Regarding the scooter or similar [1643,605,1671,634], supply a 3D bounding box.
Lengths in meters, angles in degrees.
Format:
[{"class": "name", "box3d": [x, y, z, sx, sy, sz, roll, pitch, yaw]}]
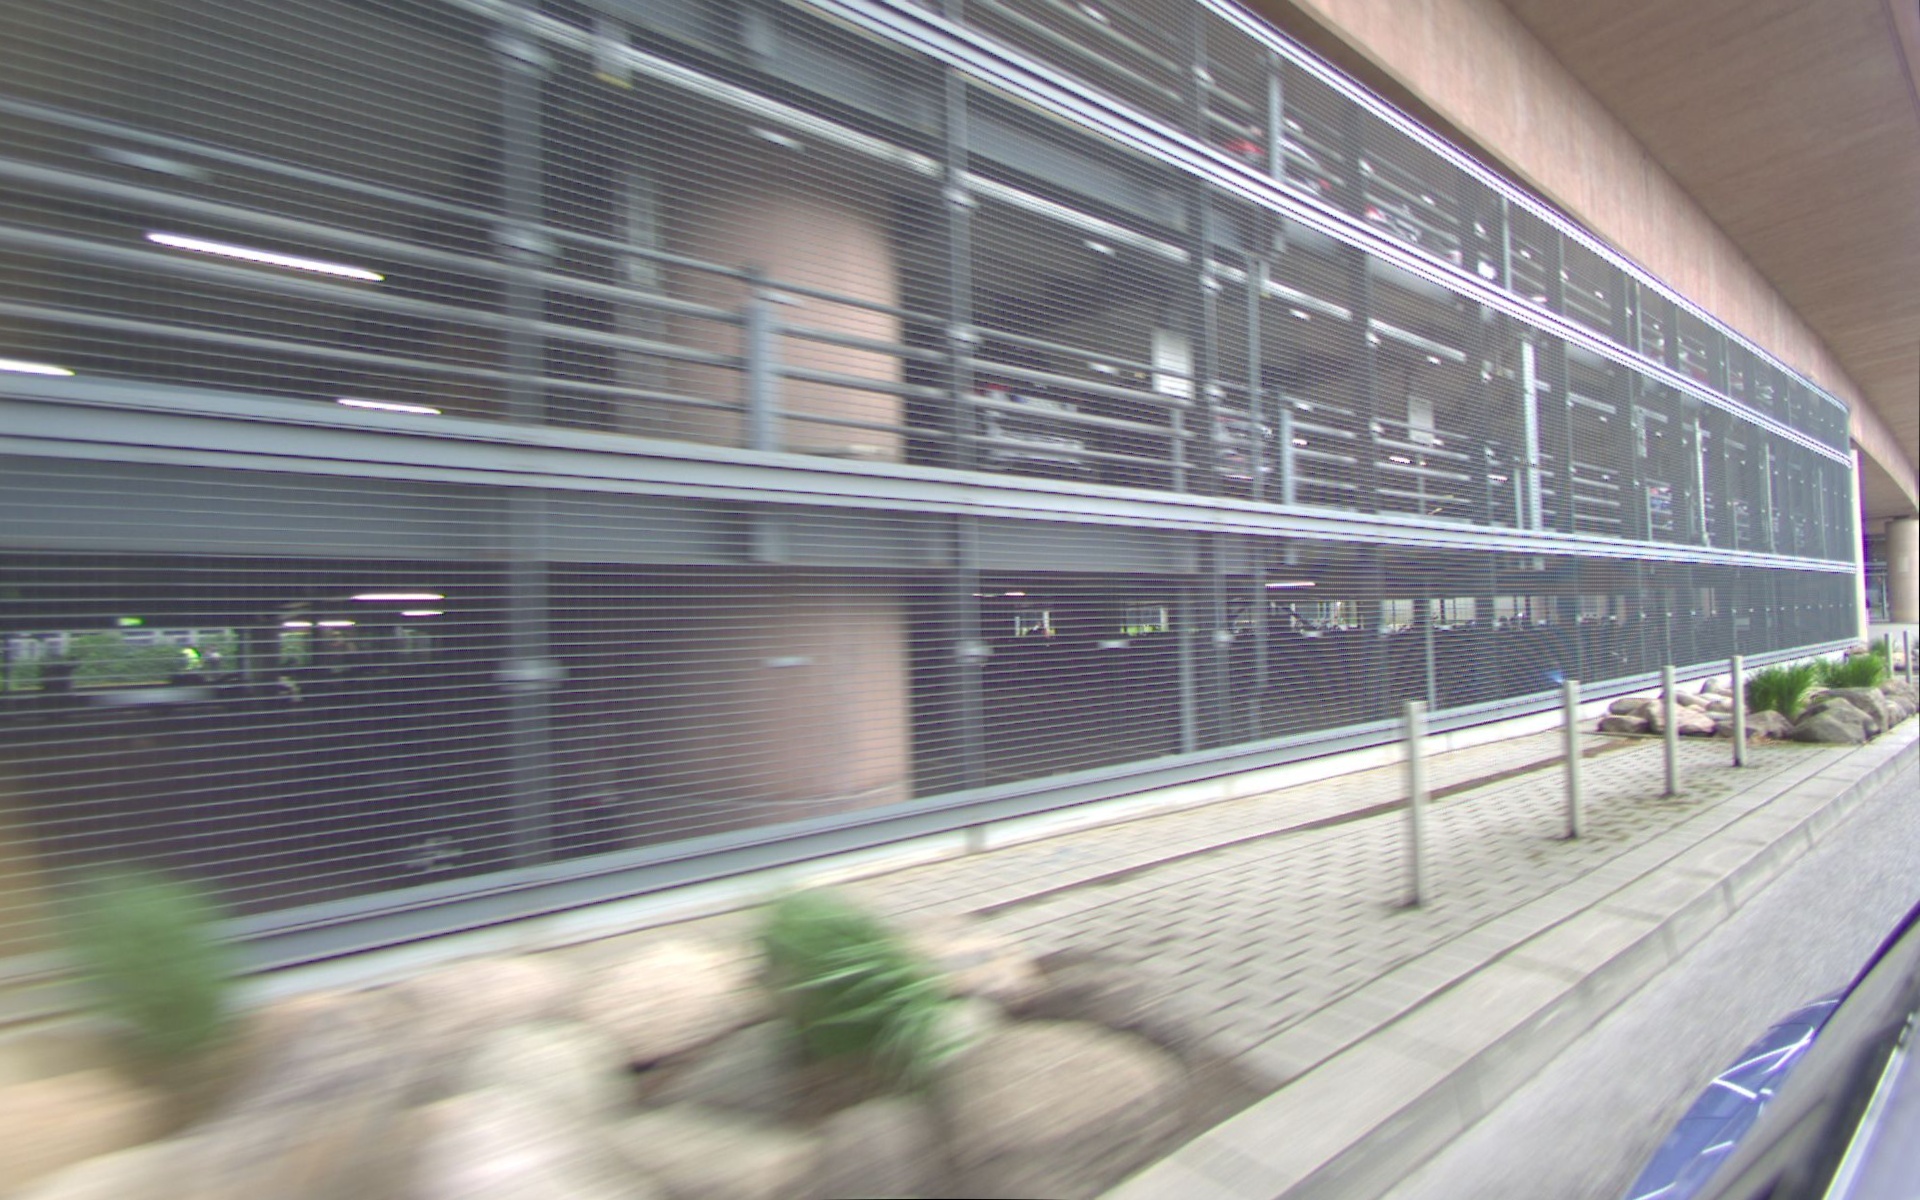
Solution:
[{"class": "scooter or similar", "box3d": [28.549, 0.798, 41.446, 1.226, 1.149, 0.400, 1, -3, -30]}]

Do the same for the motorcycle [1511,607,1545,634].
[{"class": "motorcycle", "box3d": [25.793, 0.935, 45.948, 2.041, 1.236, 0.673, 1, -3, -40]}]
